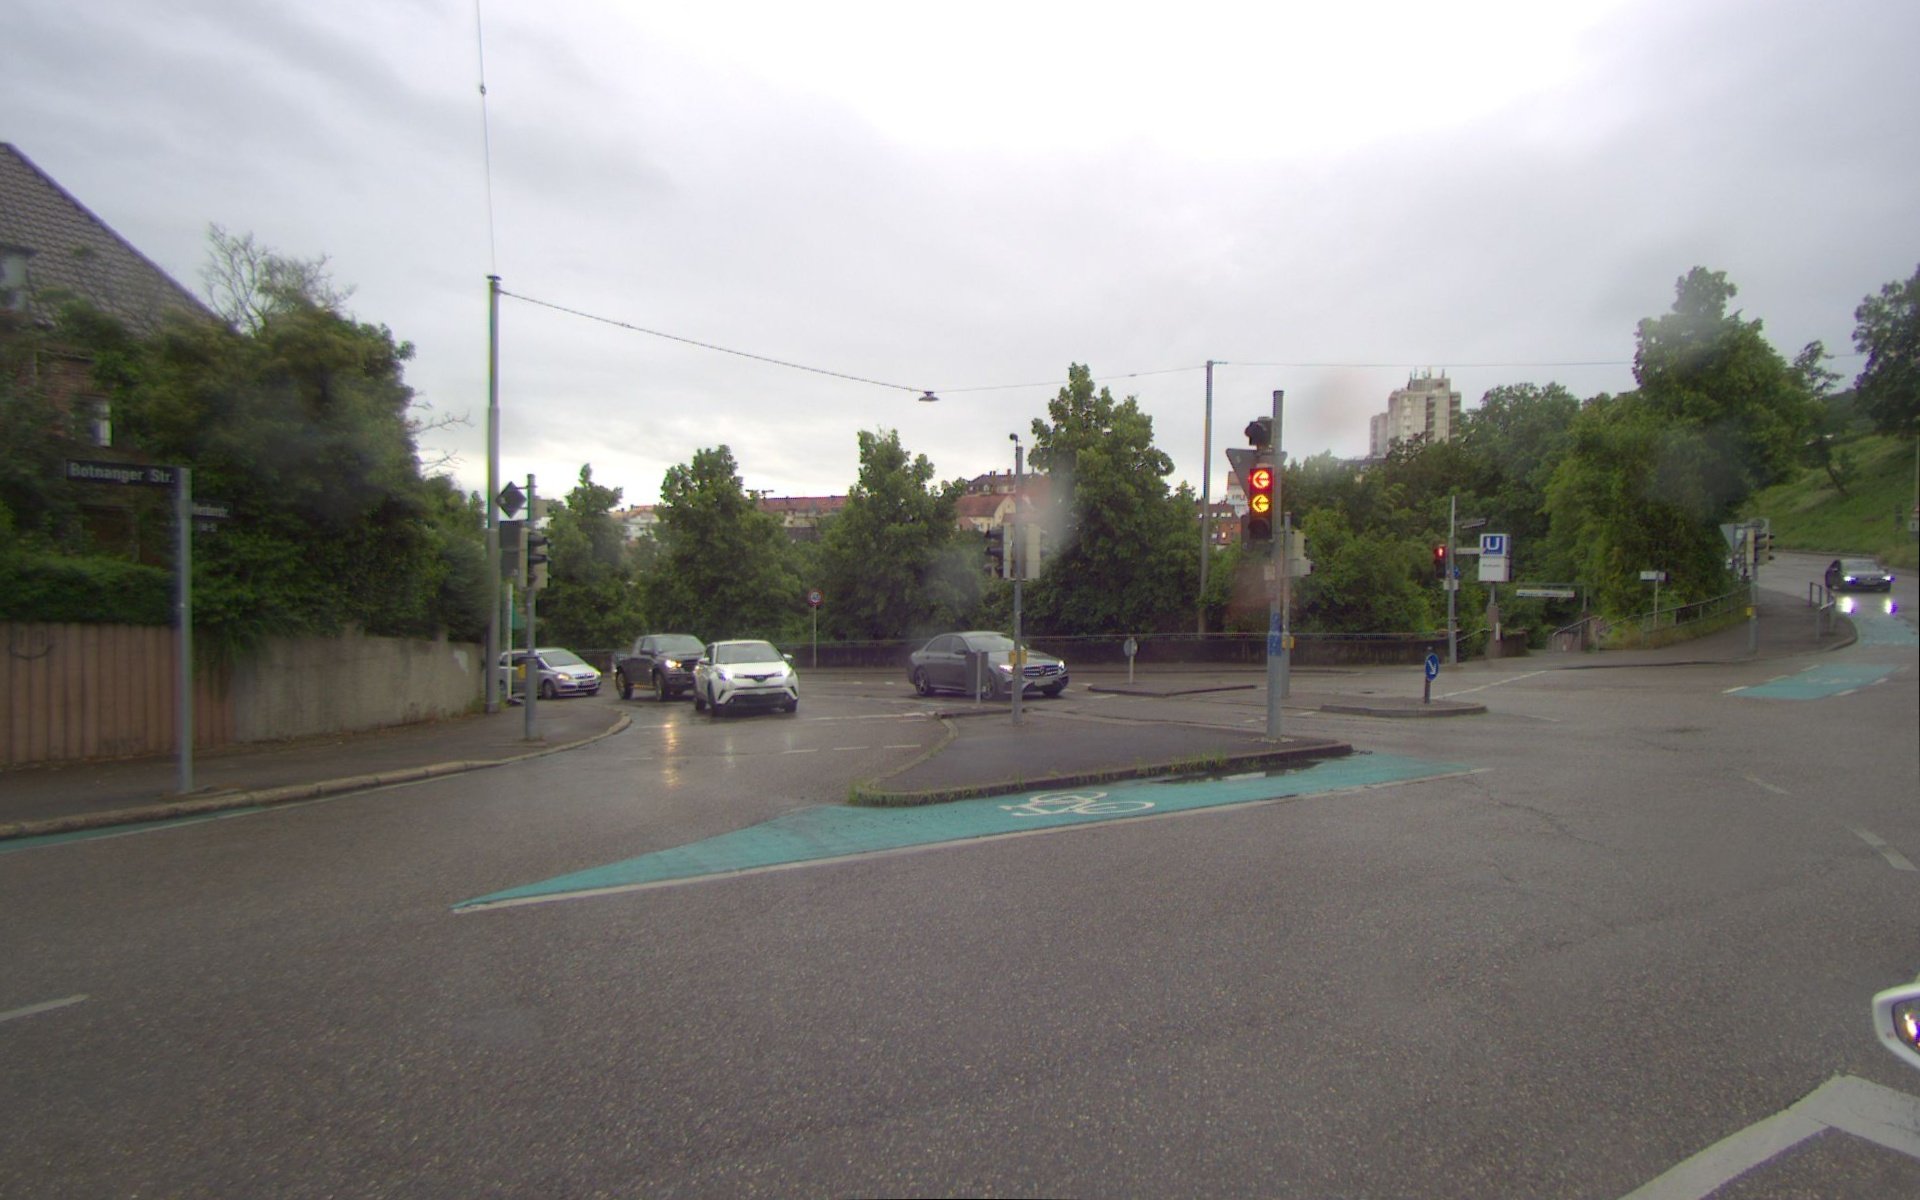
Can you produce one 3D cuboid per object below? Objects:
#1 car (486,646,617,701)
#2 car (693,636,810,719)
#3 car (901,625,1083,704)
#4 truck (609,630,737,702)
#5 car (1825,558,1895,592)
[{"bbox_3d":[-13.628,2.424,33.489,4.238,1.653,1.853,-2,-1,31],"label":"car"},{"bbox_3d":[-4.580,1.630,21.633,1.810,1.527,3.866,-2,-2,-21],"label":"car"},{"bbox_3d":[0.605,1.418,22.845,1.959,1.527,4.450,-2,-1,-32],"label":"car"},{"bbox_3d":[-8.325,1.899,28.782,1.890,1.809,4.940,-2,-3,-36],"label":"truck"},{"bbox_3d":[42.642,-1.206,47.683,1.931,1.532,4.388,1,3,36],"label":"car"}]
